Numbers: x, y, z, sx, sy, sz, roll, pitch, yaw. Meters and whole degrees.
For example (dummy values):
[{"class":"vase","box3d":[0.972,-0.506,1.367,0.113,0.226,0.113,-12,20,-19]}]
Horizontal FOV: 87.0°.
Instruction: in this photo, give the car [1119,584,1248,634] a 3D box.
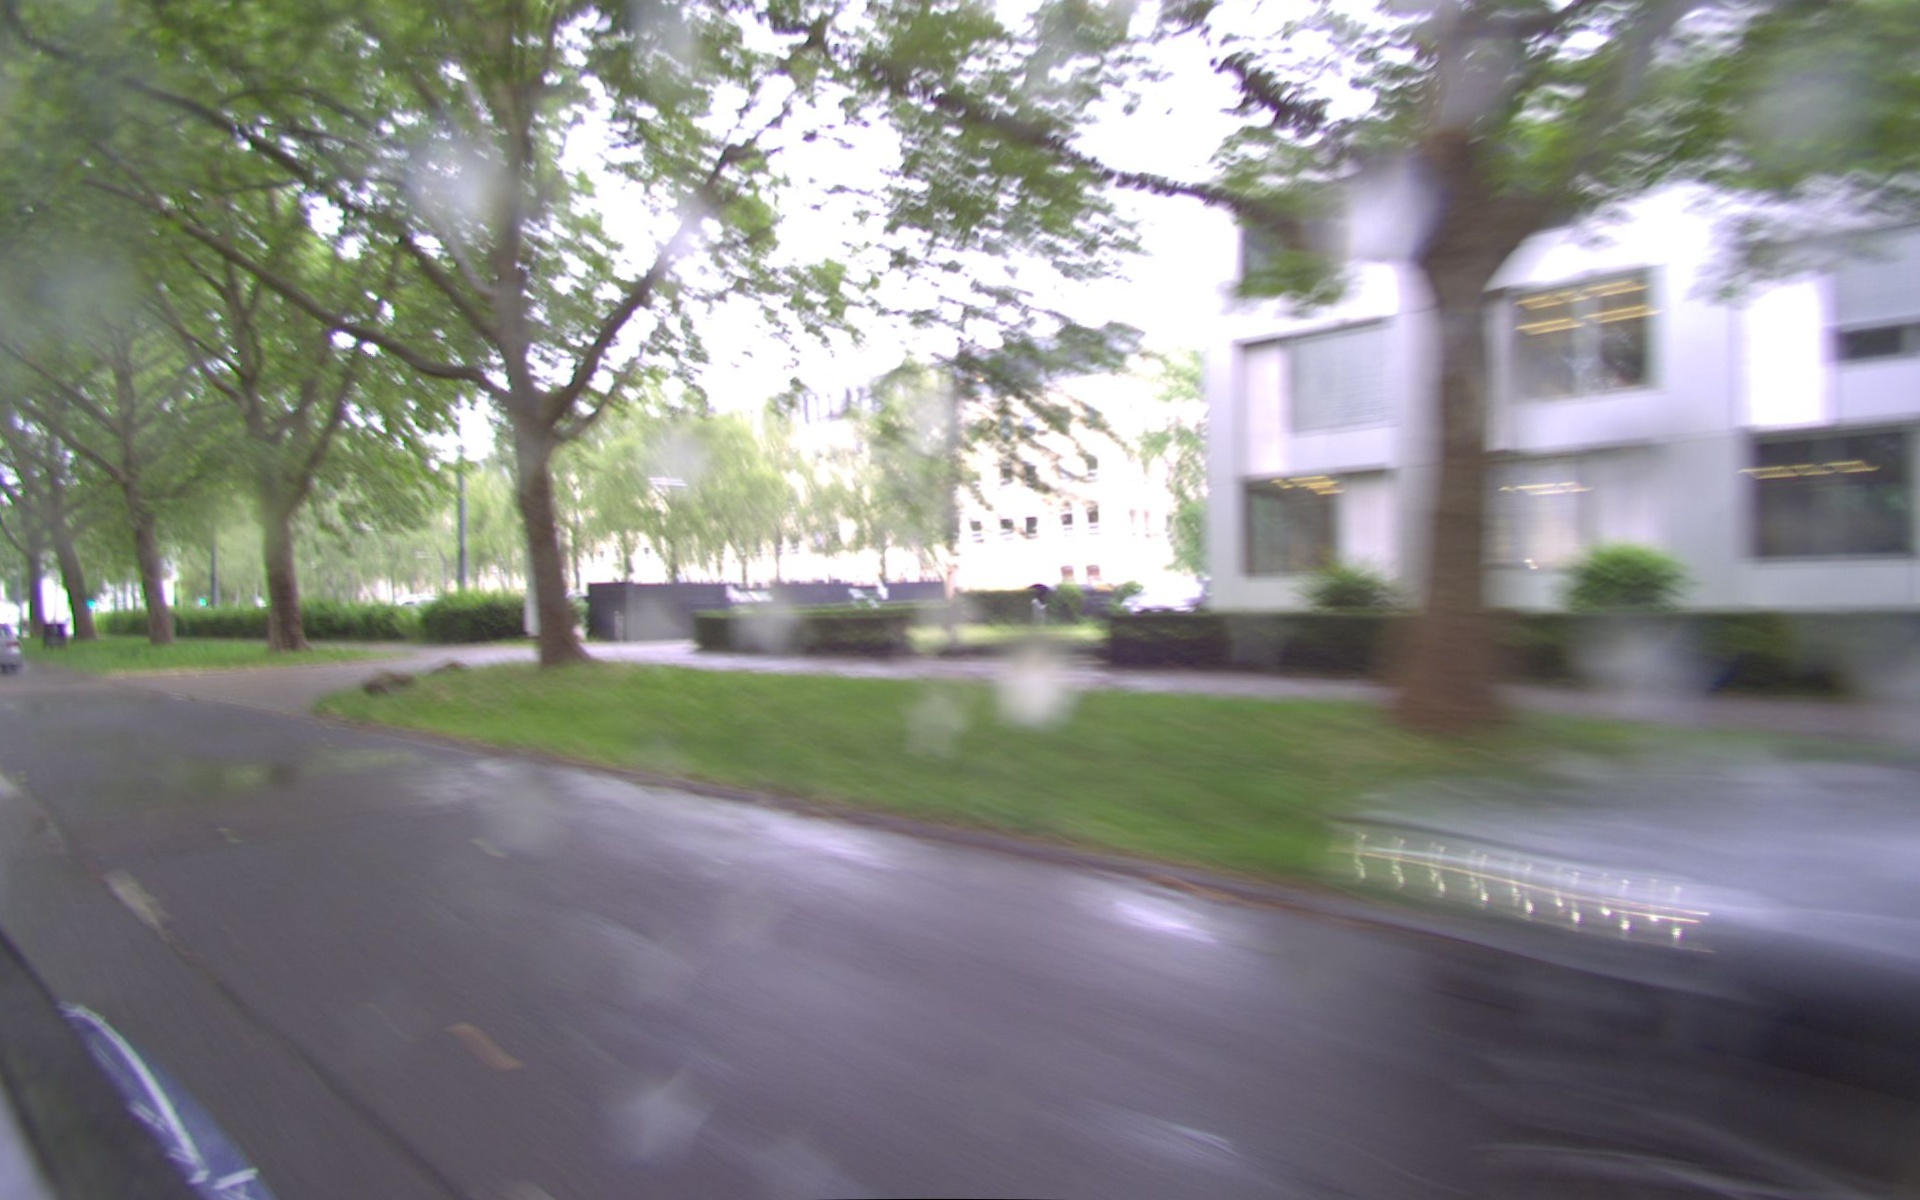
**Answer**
[{"class":"car","box3d":[6.141,0.226,27.579,1.788,1.165,3.947,-2,1,40]}]

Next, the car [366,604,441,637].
[{"class":"car","box3d":[-37.157,1.357,67.658,1.999,2.029,3.945,-2,-1,41]}]

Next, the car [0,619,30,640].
[{"class":"car","box3d":[-109.385,3.441,115.624,2.161,2.272,4.894,-3,1,-9]}]

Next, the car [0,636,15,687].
[{"class":"car","box3d":[-28.479,1.749,28.975,4.547,1.399,1.661,-2,-1,42]}]

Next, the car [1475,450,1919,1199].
[{"class":"car","box3d":[3.376,0.564,1.401,4.445,1.697,1.791,-2,-2,40]}]

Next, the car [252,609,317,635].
[{"class":"car","box3d":[-54.629,1.749,81.866,1.852,1.846,3.950,-2,1,37]}]

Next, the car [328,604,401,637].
[{"class":"car","box3d":[-41.600,1.408,70.728,2.000,2.149,3.944,-2,-1,42]}]

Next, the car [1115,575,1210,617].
[{"class":"car","box3d":[8.016,-0.178,39.826,1.998,1.431,4.030,-2,1,40]}]
